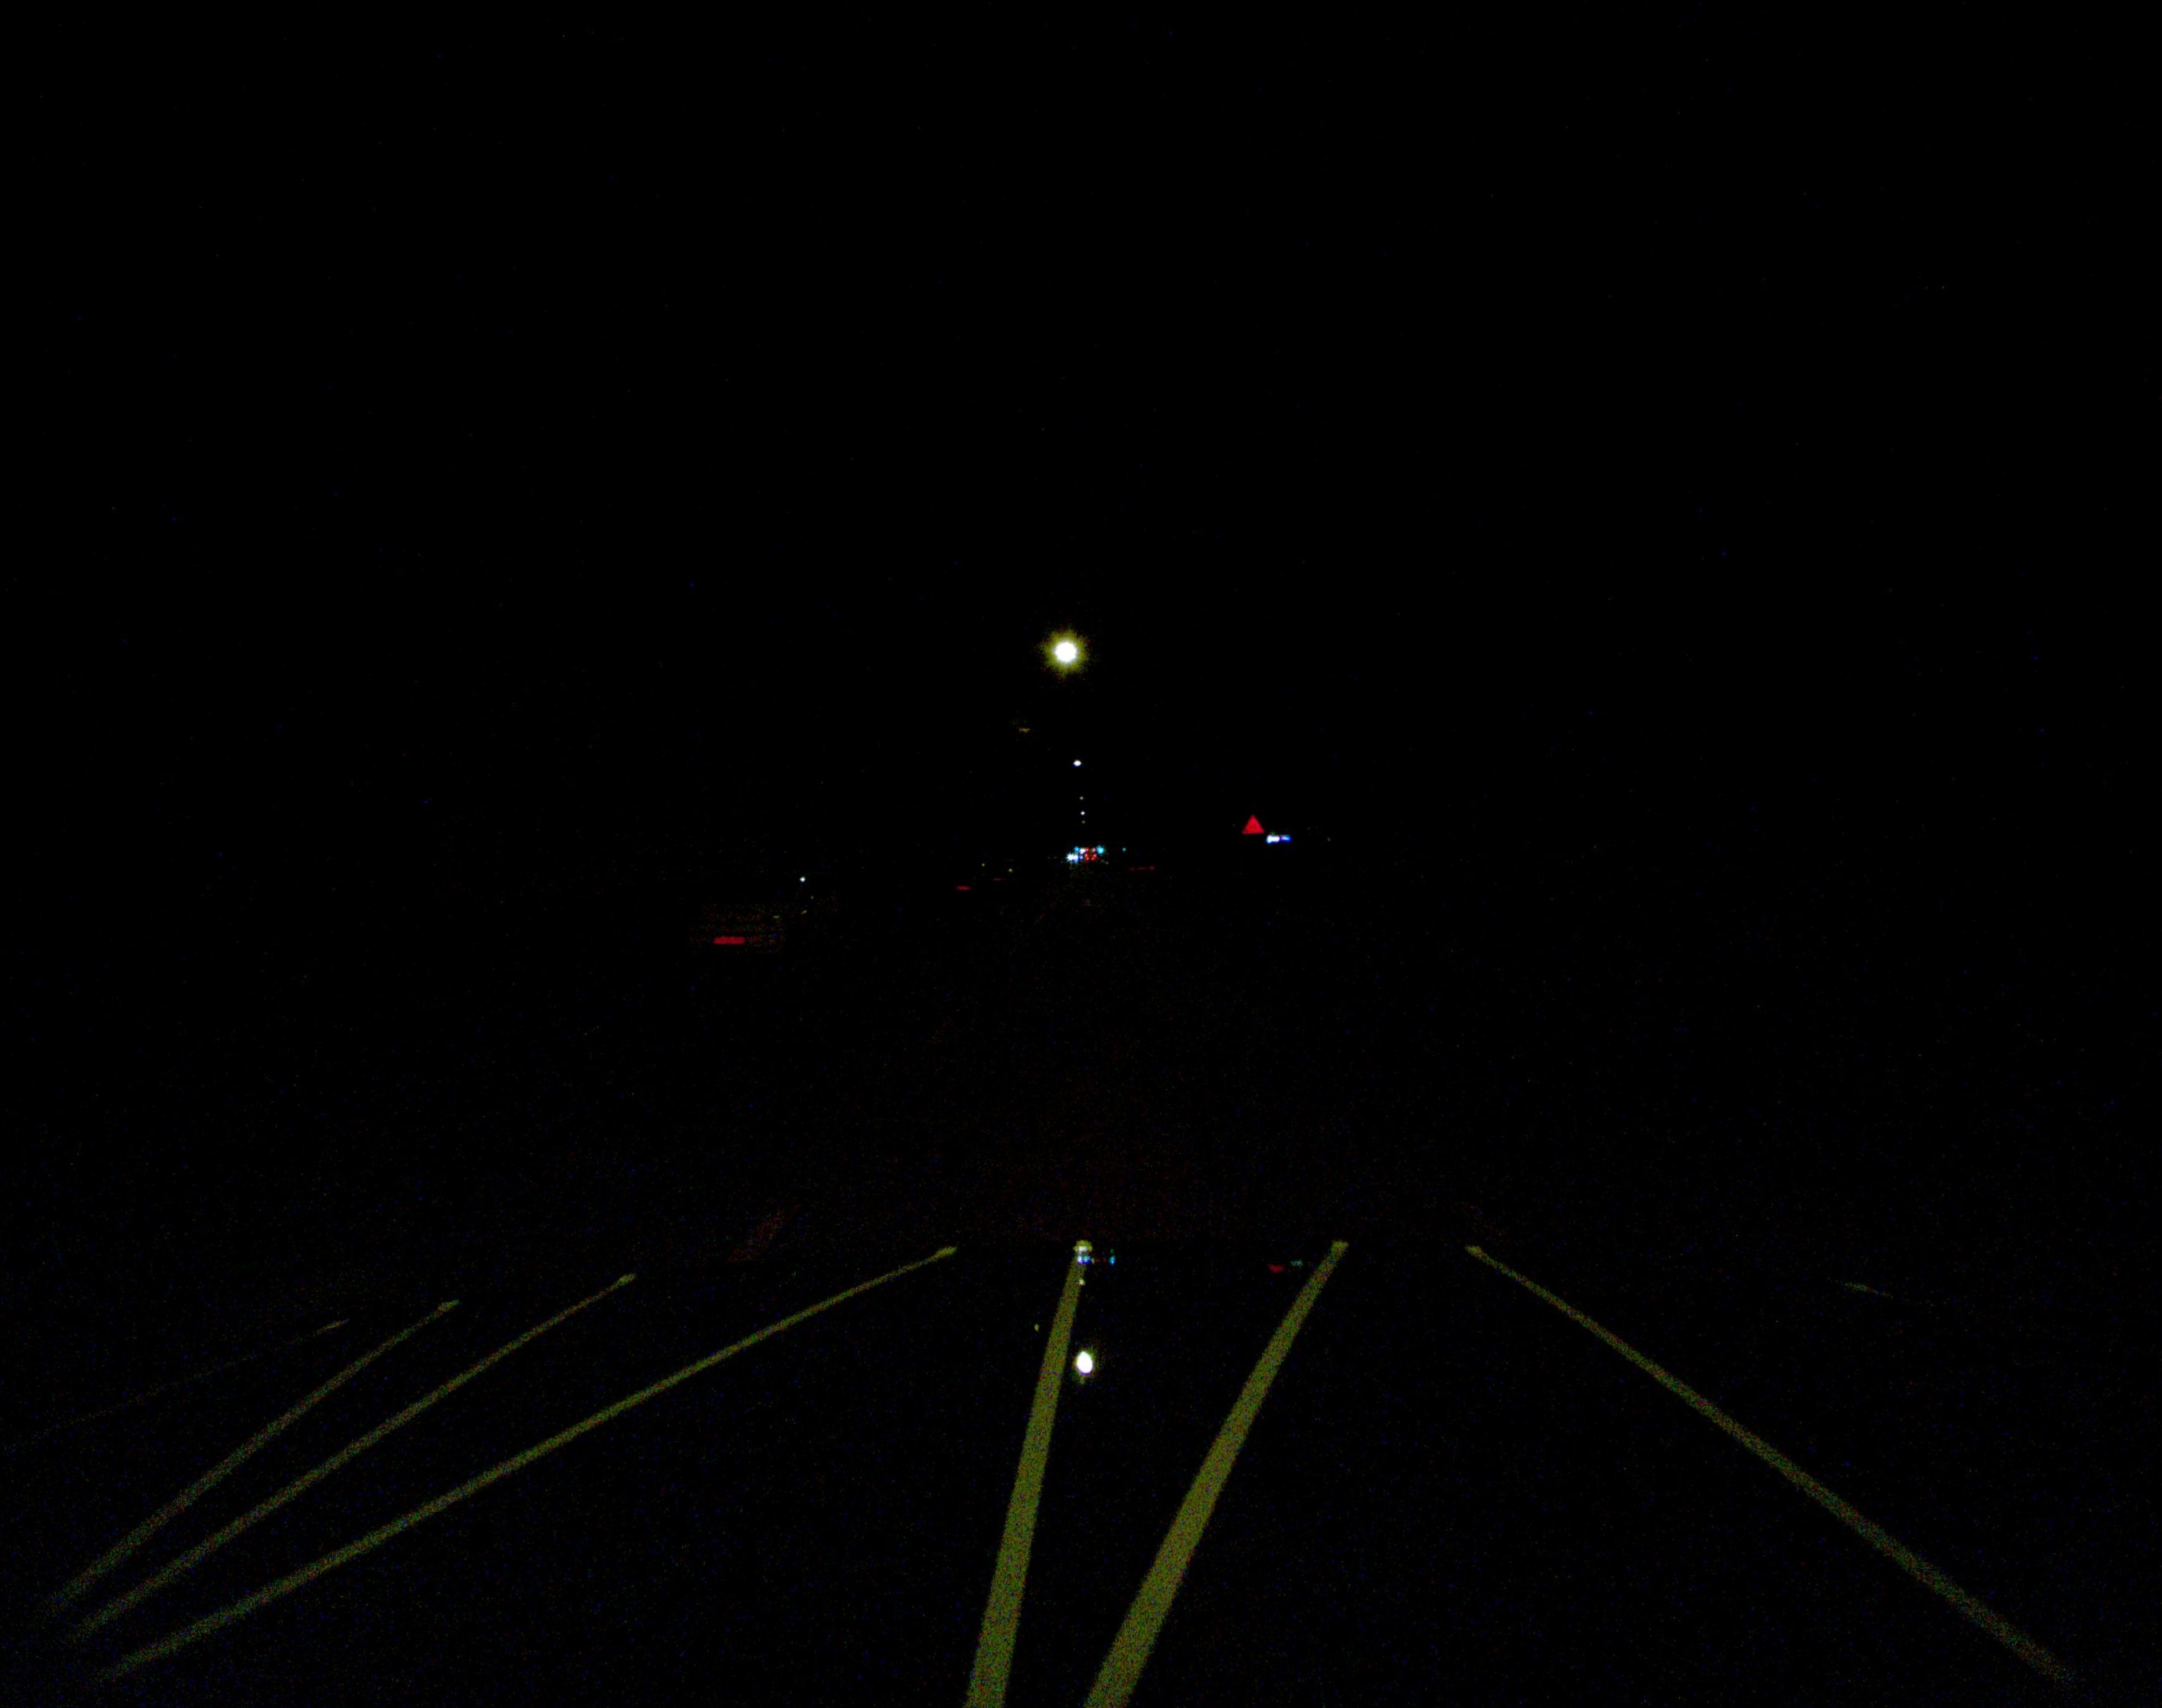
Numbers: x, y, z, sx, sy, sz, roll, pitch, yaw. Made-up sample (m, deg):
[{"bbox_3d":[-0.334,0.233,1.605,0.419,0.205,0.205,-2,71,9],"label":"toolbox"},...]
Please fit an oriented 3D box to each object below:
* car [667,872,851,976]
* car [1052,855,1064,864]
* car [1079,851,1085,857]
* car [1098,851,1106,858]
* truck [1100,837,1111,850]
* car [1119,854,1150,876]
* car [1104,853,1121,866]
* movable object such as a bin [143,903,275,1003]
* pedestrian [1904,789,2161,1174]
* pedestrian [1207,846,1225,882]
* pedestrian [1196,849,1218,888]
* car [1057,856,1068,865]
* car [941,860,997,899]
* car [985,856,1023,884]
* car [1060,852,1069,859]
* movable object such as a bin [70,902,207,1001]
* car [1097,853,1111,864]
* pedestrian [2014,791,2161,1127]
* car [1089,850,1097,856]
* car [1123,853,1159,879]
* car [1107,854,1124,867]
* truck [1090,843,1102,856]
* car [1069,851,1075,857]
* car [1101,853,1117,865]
[{"bbox_3d":[-5.391,1.092,13.230,1.672,1.476,3.603,0,0,0],"label":"car"},{"bbox_3d":[-3.754,0.886,126.025,1.874,1.407,4.000,-2,0,0],"label":"car"},{"bbox_3d":[0.265,-0.001,224.809,1.874,1.635,4.000,-2,0,0],"label":"car"},{"bbox_3d":[4.950,0.174,178.266,1.873,1.551,4.353,-2,0,1],"label":"car"},{"bbox_3d":[4.866,-2.041,153.382,2.084,2.562,6.873,-2,0,1],"label":"truck"},{"bbox_3d":[3.864,0.792,55.710,1.864,1.458,3.897,-4,0,-1],"label":"car"},{"bbox_3d":[4.245,0.786,103.204,1.874,1.635,3.999,-2,0,-3],"label":"car"},{"bbox_3d":[-10.125,1.134,8.851,0.609,1.042,0.755,-2,1,1],"label":"movable object such as a bin"},{"bbox_3d":[5.161,0.560,3.930,0.677,1.735,1.028,-2,1,0],"label":"pedestrian"},{"bbox_3d":[6.733,0.495,37.936,0.670,1.716,0.866,-2,0,-2],"label":"pedestrian"},{"bbox_3d":[5.582,0.624,33.753,0.744,1.662,1.103,-2,1,0],"label":"pedestrian"},{"bbox_3d":[-3.170,1.082,132.856,1.874,1.407,4.000,-2,0,0],"label":"car"},{"bbox_3d":[-4.676,1.033,32.247,1.865,1.544,4.044,0,0,-2],"label":"car"},{"bbox_3d":[-4.575,0.932,45.688,1.742,1.588,4.359,0,0,1],"label":"car"},{"bbox_3d":[-3.544,0.344,162.298,1.874,1.407,4.000,-2,0,0],"label":"car"},{"bbox_3d":[-11.000,1.118,8.893,0.609,1.042,0.755,-2,1,1],"label":"movable object such as a bin"},{"bbox_3d":[3.551,0.680,117.768,1.874,1.635,3.999,-2,0,-3],"label":"car"},{"bbox_3d":[5.943,0.532,3.977,0.744,1.735,1.103,-2,1,0],"label":"pedestrian"},{"bbox_3d":[2.969,-0.259,189.780,1.873,1.635,4.000,-2,0,1],"label":"car"},{"bbox_3d":[3.924,0.760,50.495,1.864,1.523,4.587,-4,0,-1],"label":"car"},{"bbox_3d":[4.468,0.823,98.765,1.874,1.635,3.999,-2,0,-3],"label":"car"},{"bbox_3d":[4.162,-1.235,212.984,3.222,3.359,8.850,-2,0,1],"label":"truck"},{"bbox_3d":[-2.580,-0.004,216.966,1.793,1.829,3.845,-2,0,-1],"label":"car"},{"bbox_3d":[4.008,0.745,108.137,1.874,1.635,3.999,-2,0,-3],"label":"car"}]
